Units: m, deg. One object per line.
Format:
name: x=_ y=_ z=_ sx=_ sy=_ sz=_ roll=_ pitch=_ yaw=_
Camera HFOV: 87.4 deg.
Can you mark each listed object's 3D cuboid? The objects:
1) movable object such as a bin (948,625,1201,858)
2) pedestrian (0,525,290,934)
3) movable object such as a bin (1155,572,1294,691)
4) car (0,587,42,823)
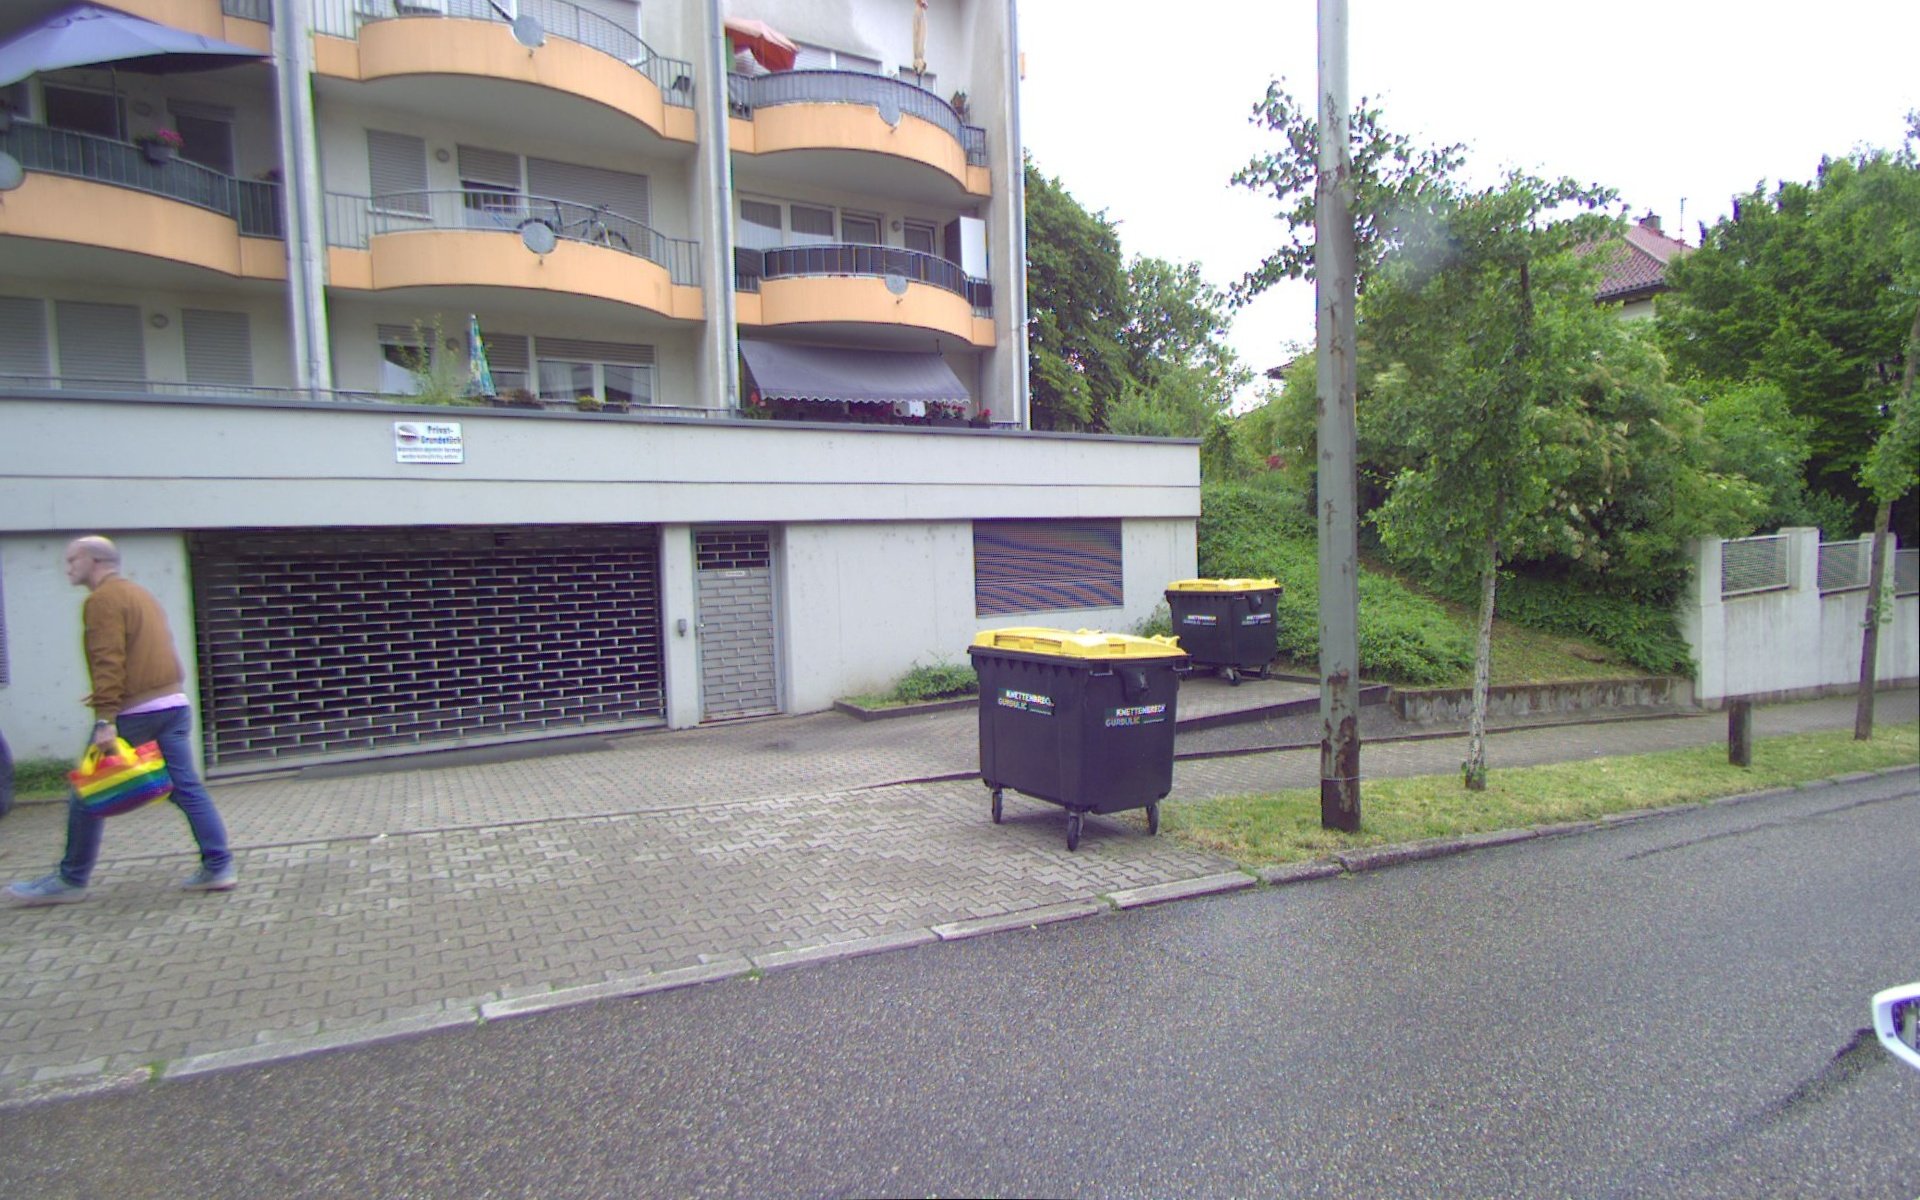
movable object such as a bin: x=0.762 y=0.872 z=6.883 sx=1.145 sy=1.324 sz=1.288 roll=0 pitch=2 yaw=-38
pedestrian: x=-4.079 y=0.568 z=4.890 sx=1.052 sy=1.806 sz=0.824 roll=2 pitch=2 yaw=-2
movable object such as a bin: x=3.523 y=0.371 z=13.403 sx=1.215 sy=1.383 sz=1.289 roll=-7 pitch=6 yaw=-36
car: x=-8.145 y=0.671 z=5.655 sx=4.050 sy=1.582 sz=1.770 roll=1 pitch=-4 yaw=-31
